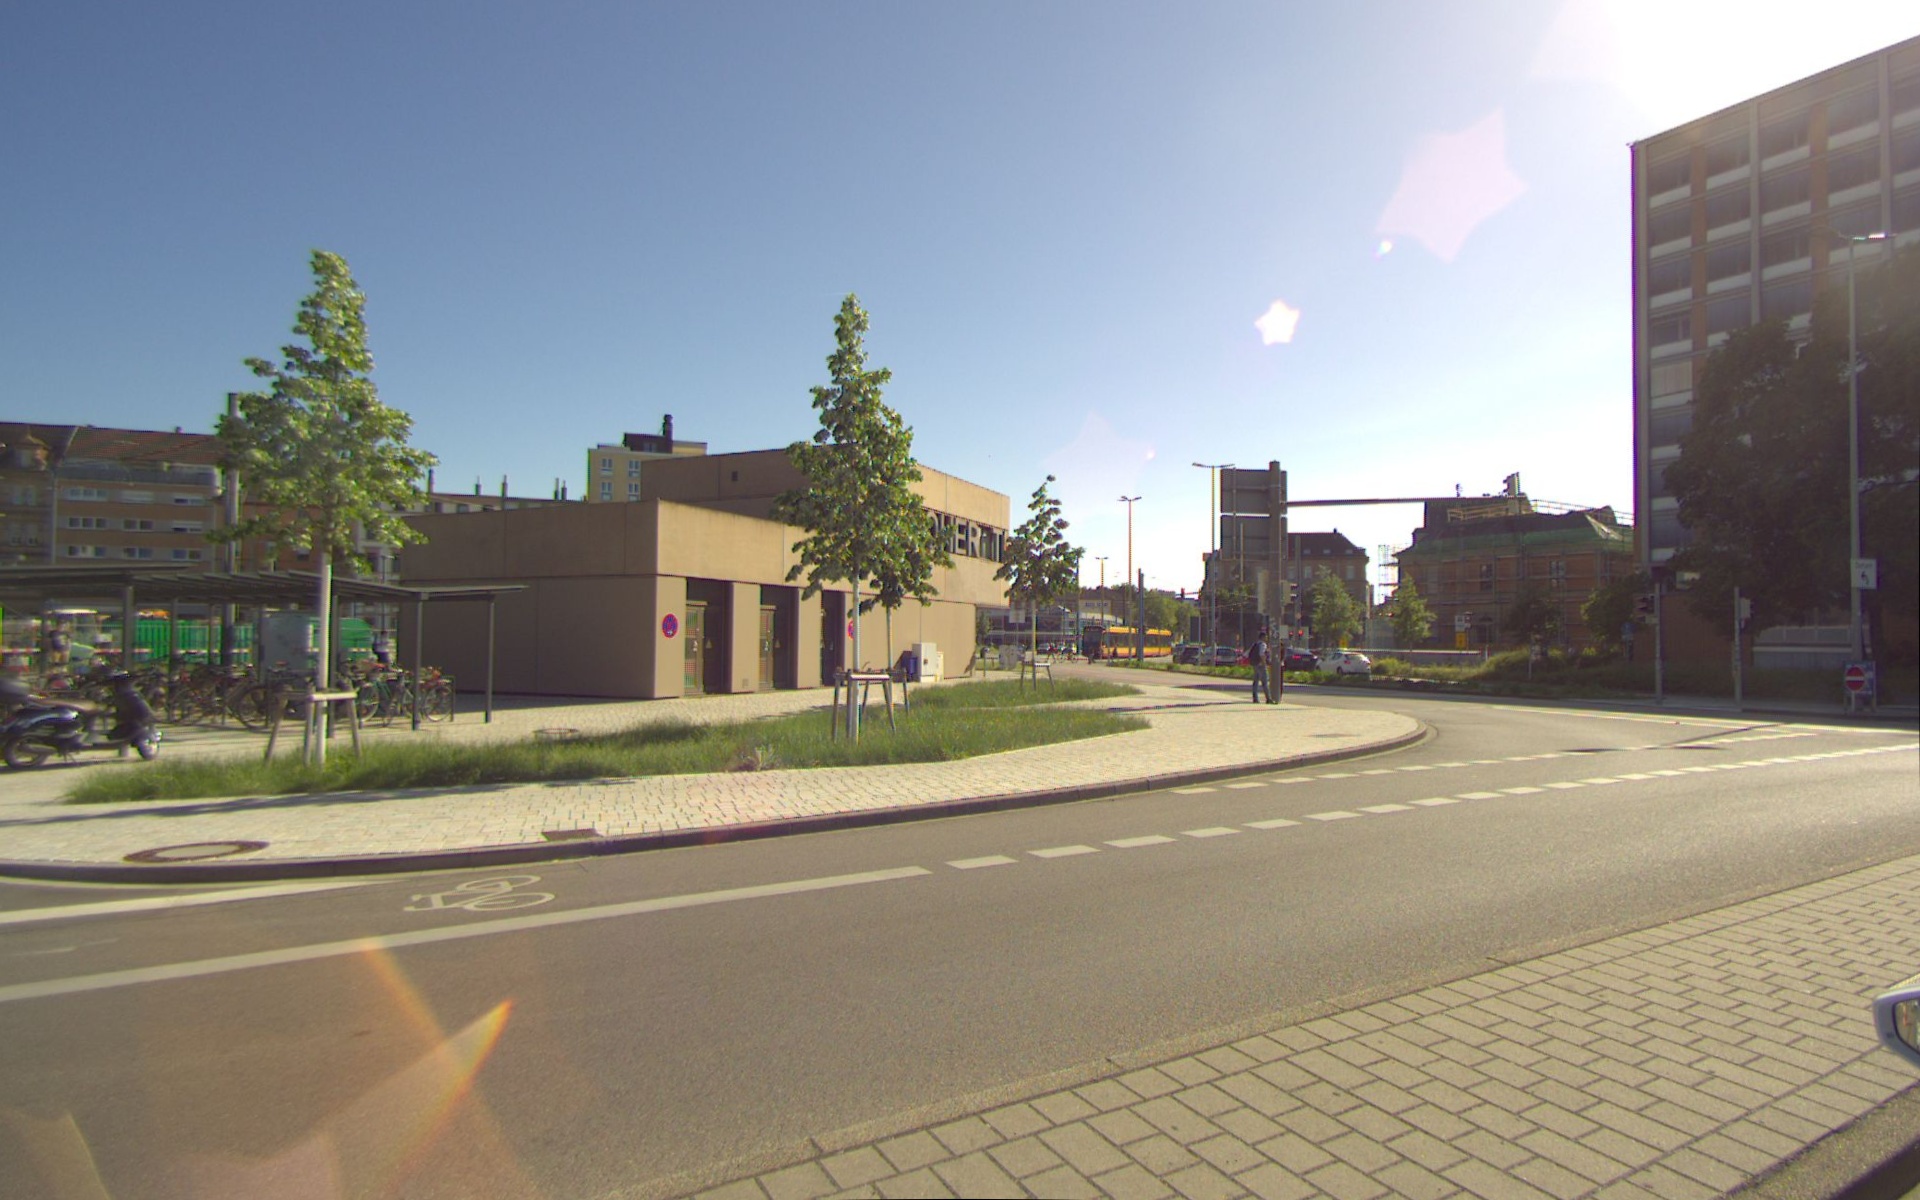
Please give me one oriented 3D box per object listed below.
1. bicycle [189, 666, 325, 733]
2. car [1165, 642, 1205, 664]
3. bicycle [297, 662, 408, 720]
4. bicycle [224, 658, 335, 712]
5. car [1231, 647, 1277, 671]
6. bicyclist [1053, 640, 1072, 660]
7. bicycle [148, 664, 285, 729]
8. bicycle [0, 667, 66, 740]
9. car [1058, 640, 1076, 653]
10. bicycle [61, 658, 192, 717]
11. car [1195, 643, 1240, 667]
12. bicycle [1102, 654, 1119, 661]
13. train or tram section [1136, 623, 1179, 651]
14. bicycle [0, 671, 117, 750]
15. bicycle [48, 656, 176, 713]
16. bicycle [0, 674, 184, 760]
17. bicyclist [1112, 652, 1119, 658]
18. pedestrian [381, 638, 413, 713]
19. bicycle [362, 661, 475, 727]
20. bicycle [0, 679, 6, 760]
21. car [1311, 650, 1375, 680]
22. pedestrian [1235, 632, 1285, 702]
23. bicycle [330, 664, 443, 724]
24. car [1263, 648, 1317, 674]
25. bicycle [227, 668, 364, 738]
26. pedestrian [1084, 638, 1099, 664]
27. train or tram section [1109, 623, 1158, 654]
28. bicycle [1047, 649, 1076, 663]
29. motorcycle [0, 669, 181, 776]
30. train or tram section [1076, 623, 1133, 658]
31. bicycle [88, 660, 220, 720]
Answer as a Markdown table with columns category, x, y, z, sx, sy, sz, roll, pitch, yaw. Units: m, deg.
| category | x | y | z | sx | sy | sz | roll | pitch | yaw |
| --- | --- | --- | --- | --- | --- | --- | --- | --- | --- |
| bicycle | -11.886 | 1.653 | 17.055 | 0.449 | 1.022 | 1.902 | 0 | -2 | 26 |
| car | 16.785 | 3.932 | 74.993 | 1.760 | 1.528 | 3.880 | 1 | -2 | -6 |
| bicycle | -11.794 | 1.745 | 19.573 | 0.449 | 1.022 | 1.902 | 0 | -2 | 26 |
| bicycle | -14.069 | 1.730 | 20.825 | 0.449 | 1.022 | 1.902 | 0 | -2 | 26 |
| car | 20.214 | 4.034 | 69.245 | 1.760 | 1.528 | 3.880 | 1 | -2 | -6 |
| bicyclist | 8.720 | 4.284 | 85.806 | 1.544 | 1.655 | 0.811 | 2 | 0 | 4 |
| bicycle | -12.895 | 1.650 | 17.486 | 0.449 | 1.022 | 1.902 | 0 | -2 | 26 |
| bicycle | -14.156 | 1.509 | 14.442 | 0.449 | 1.022 | 1.902 | 0 | -2 | 26 |
| car | 15.110 | 6.536 | 141.619 | 1.709 | 1.672 | 4.002 | 0 | -2 | 17 |
| bicycle | -15.914 | 1.645 | 19.236 | 0.449 | 1.022 | 1.902 | 0 | -2 | 26 |
| car | 17.466 | 3.696 | 68.266 | 1.760 | 1.528 | 3.880 | 1 | -2 | -6 |
| bicycle | 12.662 | 4.820 | 84.700 | 1.381 | 0.556 | 0.435 | 0 | -2 | 11 |
| train or tram section | 24.560 | 4.511 | 124.575 | 2.650 | 3.275 | 10.591 | 2 | 0 | 26 |
| bicycle | -13.026 | 1.538 | 14.011 | 0.449 | 1.022 | 1.902 | 0 | -2 | 26 |
| bicycle | -16.697 | 1.640 | 19.835 | 0.449 | 1.022 | 1.902 | 0 | -2 | 26 |
| bicycle | -11.812 | 1.557 | 13.719 | 0.449 | 1.022 | 1.902 | 0 | -2 | 26 |
| bicyclist | 13.090 | 4.631 | 84.628 | 0.560 | 0.556 | 0.431 | 0 | -2 | 11 |
| pedestrian | -15.569 | 2.077 | 27.781 | 0.710 | 2.040 | 0.682 | 1 | -2 | -30 |
| bicycle | -9.924 | 1.698 | 18.486 | 0.449 | 1.112 | 1.902 | 0 | -2 | 26 |
| bicycle | -12.742 | 1.486 | 11.999 | 0.449 | 1.022 | 1.902 | 0 | -2 | 26 |
| car | 21.257 | 3.595 | 55.929 | 1.760 | 1.528 | 3.880 | 1 | -2 | -6 |
| pedestrian | 7.643 | 1.703 | 25.597 | 1.044 | 1.753 | 0.652 | 1 | -2 | -16 |
| bicycle | -10.704 | 1.735 | 18.815 | 0.449 | 1.022 | 1.902 | 0 | -2 | 26 |
| car | 20.584 | 3.769 | 62.785 | 1.760 | 1.528 | 3.880 | 1 | -2 | -6 |
| bicycle | -10.907 | 1.664 | 16.566 | 0.449 | 1.022 | 1.902 | 0 | -2 | 26 |
| pedestrian | 10.691 | 4.143 | 81.571 | 1.023 | 2.040 | 0.724 | 1 | -2 | -9 |
| train or tram section | 19.983 | 4.325 | 115.015 | 2.650 | 3.275 | 10.591 | 2 | 0 | 26 |
| bicycle | 8.672 | 4.819 | 85.825 | 2.370 | 1.076 | 0.811 | 2 | 0 | 4 |
| motorcycle | -10.917 | 1.476 | 12.466 | 0.508 | 1.166 | 1.947 | 0 | -2 | 25 |
| train or tram section | 15.334 | 4.162 | 105.486 | 2.651 | 3.275 | 10.589 | 2 | 0 | 27 |
| bicycle | -15.078 | 1.657 | 18.861 | 0.449 | 1.022 | 1.902 | 0 | -2 | 26 |
